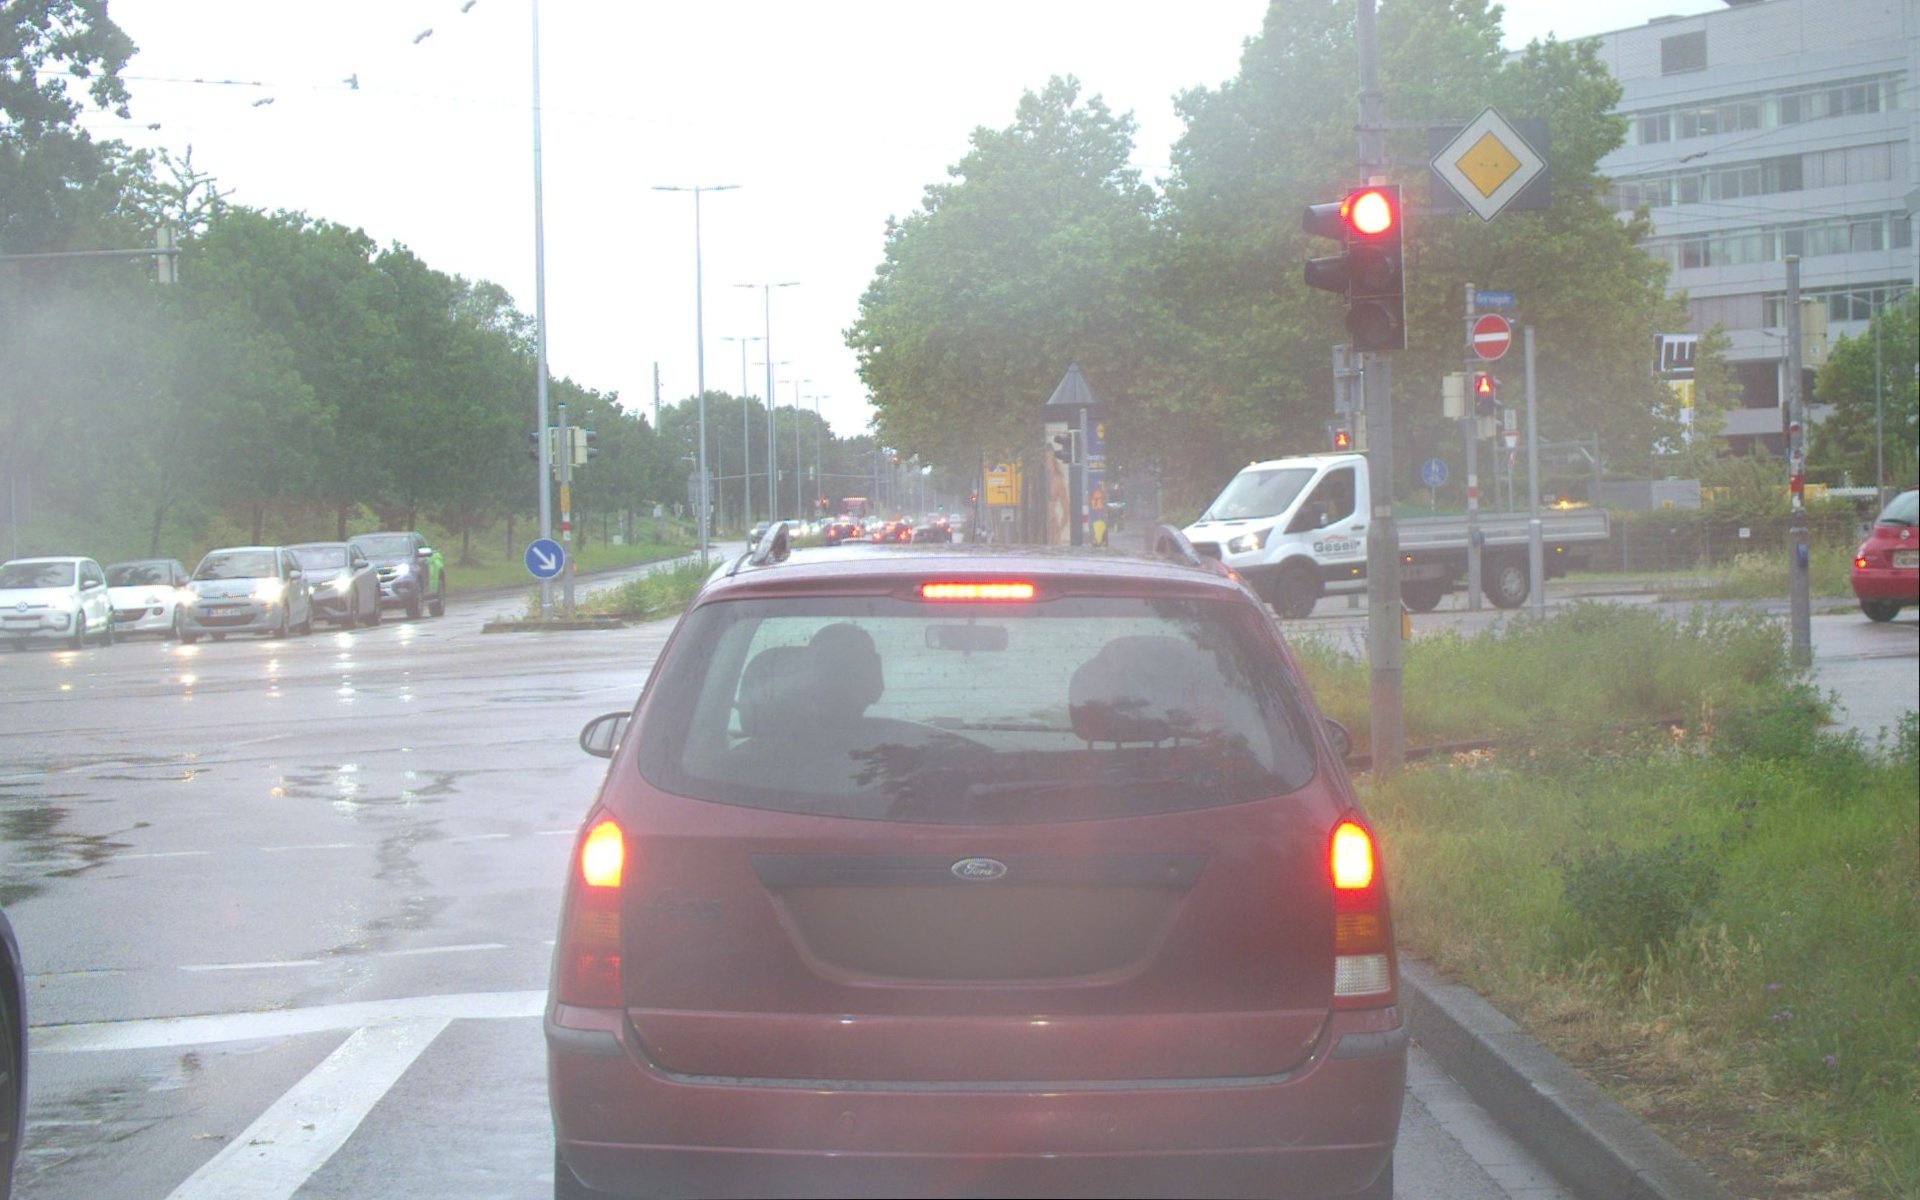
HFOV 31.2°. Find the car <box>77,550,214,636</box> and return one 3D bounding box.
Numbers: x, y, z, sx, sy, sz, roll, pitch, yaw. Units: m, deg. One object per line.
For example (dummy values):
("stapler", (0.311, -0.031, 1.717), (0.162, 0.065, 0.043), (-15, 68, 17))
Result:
("car", (-14.516, -0.150, 61.439), (1.590, 1.399, 3.823), (-2, 1, -2))

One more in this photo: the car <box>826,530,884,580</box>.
("car", (-3.858, -1.649, 125.931), (1.993, 1.784, 4.000), (1, 1, -3))

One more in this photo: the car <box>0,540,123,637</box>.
("car", (-14.639, -0.199, 55.111), (1.638, 1.447, 3.788), (-2, 1, -3))

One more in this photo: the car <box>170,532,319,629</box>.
("car", (-11.639, -0.343, 56.154), (1.638, 1.468, 3.965), (-2, 1, -1))

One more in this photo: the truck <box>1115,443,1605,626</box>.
("truck", (5.621, -0.947, 47.660), (6.847, 2.357, 2.482), (-2, 1, -36))

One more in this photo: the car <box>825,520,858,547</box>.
("car", (-6.952, -3.906, 202.466), (1.698, 1.522, 3.846), (-1, 1, 1))

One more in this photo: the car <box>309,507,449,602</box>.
("car", (-11.992, -0.971, 71.322), (2.065, 1.813, 5.542), (-2, 1, -2))

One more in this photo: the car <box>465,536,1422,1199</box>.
("car", (-0.080, 0.606, 7.820), (1.642, 1.460, 3.733), (1, 1, -2))

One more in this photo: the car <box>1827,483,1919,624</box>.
("car", (11.457, -0.524, 37.596), (3.804, 1.485, 1.678), (-1, 1, -32))

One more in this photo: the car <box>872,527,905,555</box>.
("car", (-4.040, -3.333, 194.006), (1.698, 1.522, 3.846), (-1, 1, 1))

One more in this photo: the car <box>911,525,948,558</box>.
("car", (-1.448, -2.825, 166.223), (1.671, 1.522, 3.846), (-1, 1, 1))

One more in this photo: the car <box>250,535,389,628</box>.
("car", (-11.740, -0.352, 63.264), (1.762, 1.580, 4.814), (-2, 1, -2))

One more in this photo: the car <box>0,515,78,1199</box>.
("car", (-2.696, 0.651, 4.853), (1.769, 1.568, 4.822), (1, 1, -2))
